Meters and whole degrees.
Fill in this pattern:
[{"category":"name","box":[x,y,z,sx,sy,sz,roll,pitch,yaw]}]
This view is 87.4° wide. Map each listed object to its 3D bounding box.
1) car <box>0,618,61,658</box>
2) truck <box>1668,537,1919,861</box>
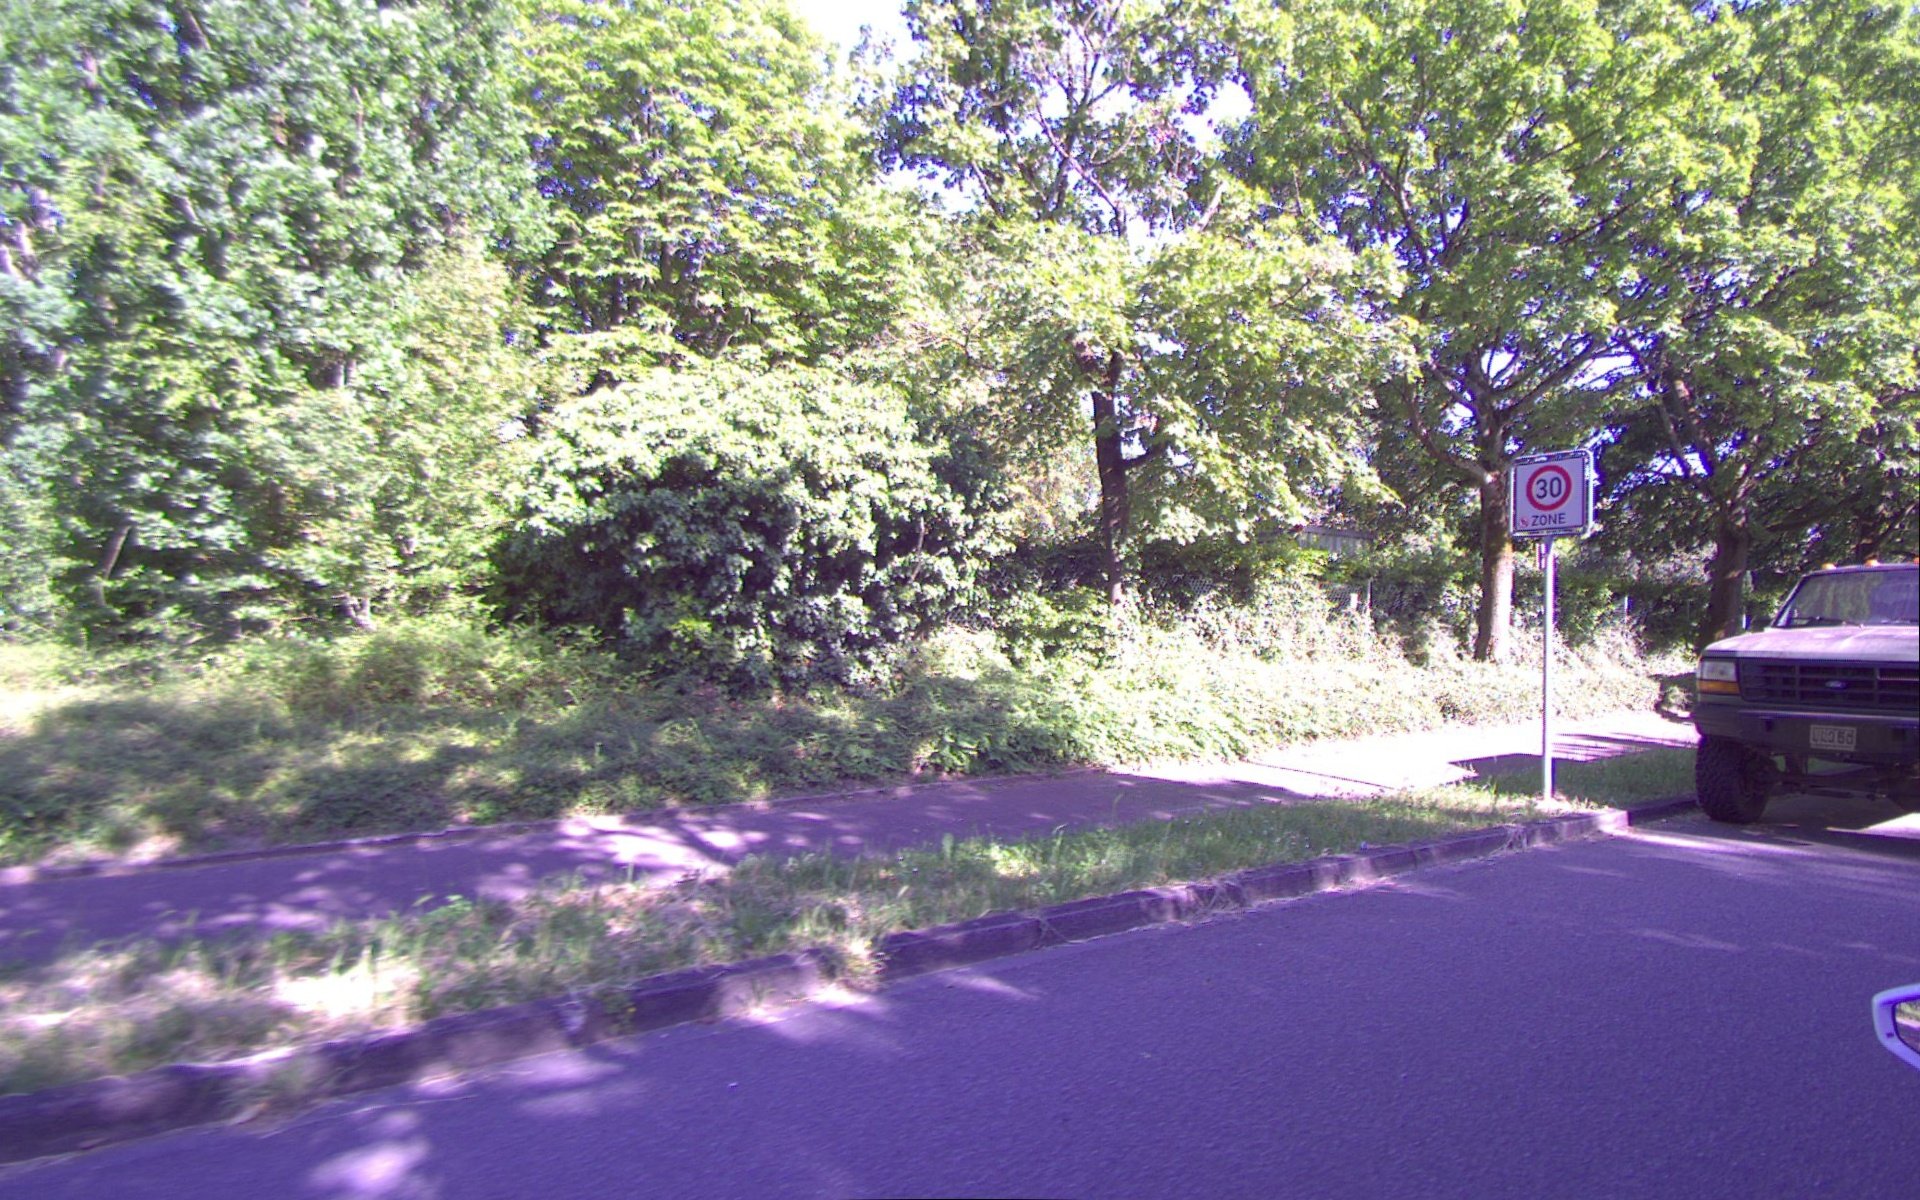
[{"category":"car","box":[-37.790,1.511,40.135,1.777,1.530,3.973,1,-2,-27]},{"category":"truck","box":[8.828,0.722,8.730,6.576,2.121,2.101,1,-2,-33]}]
